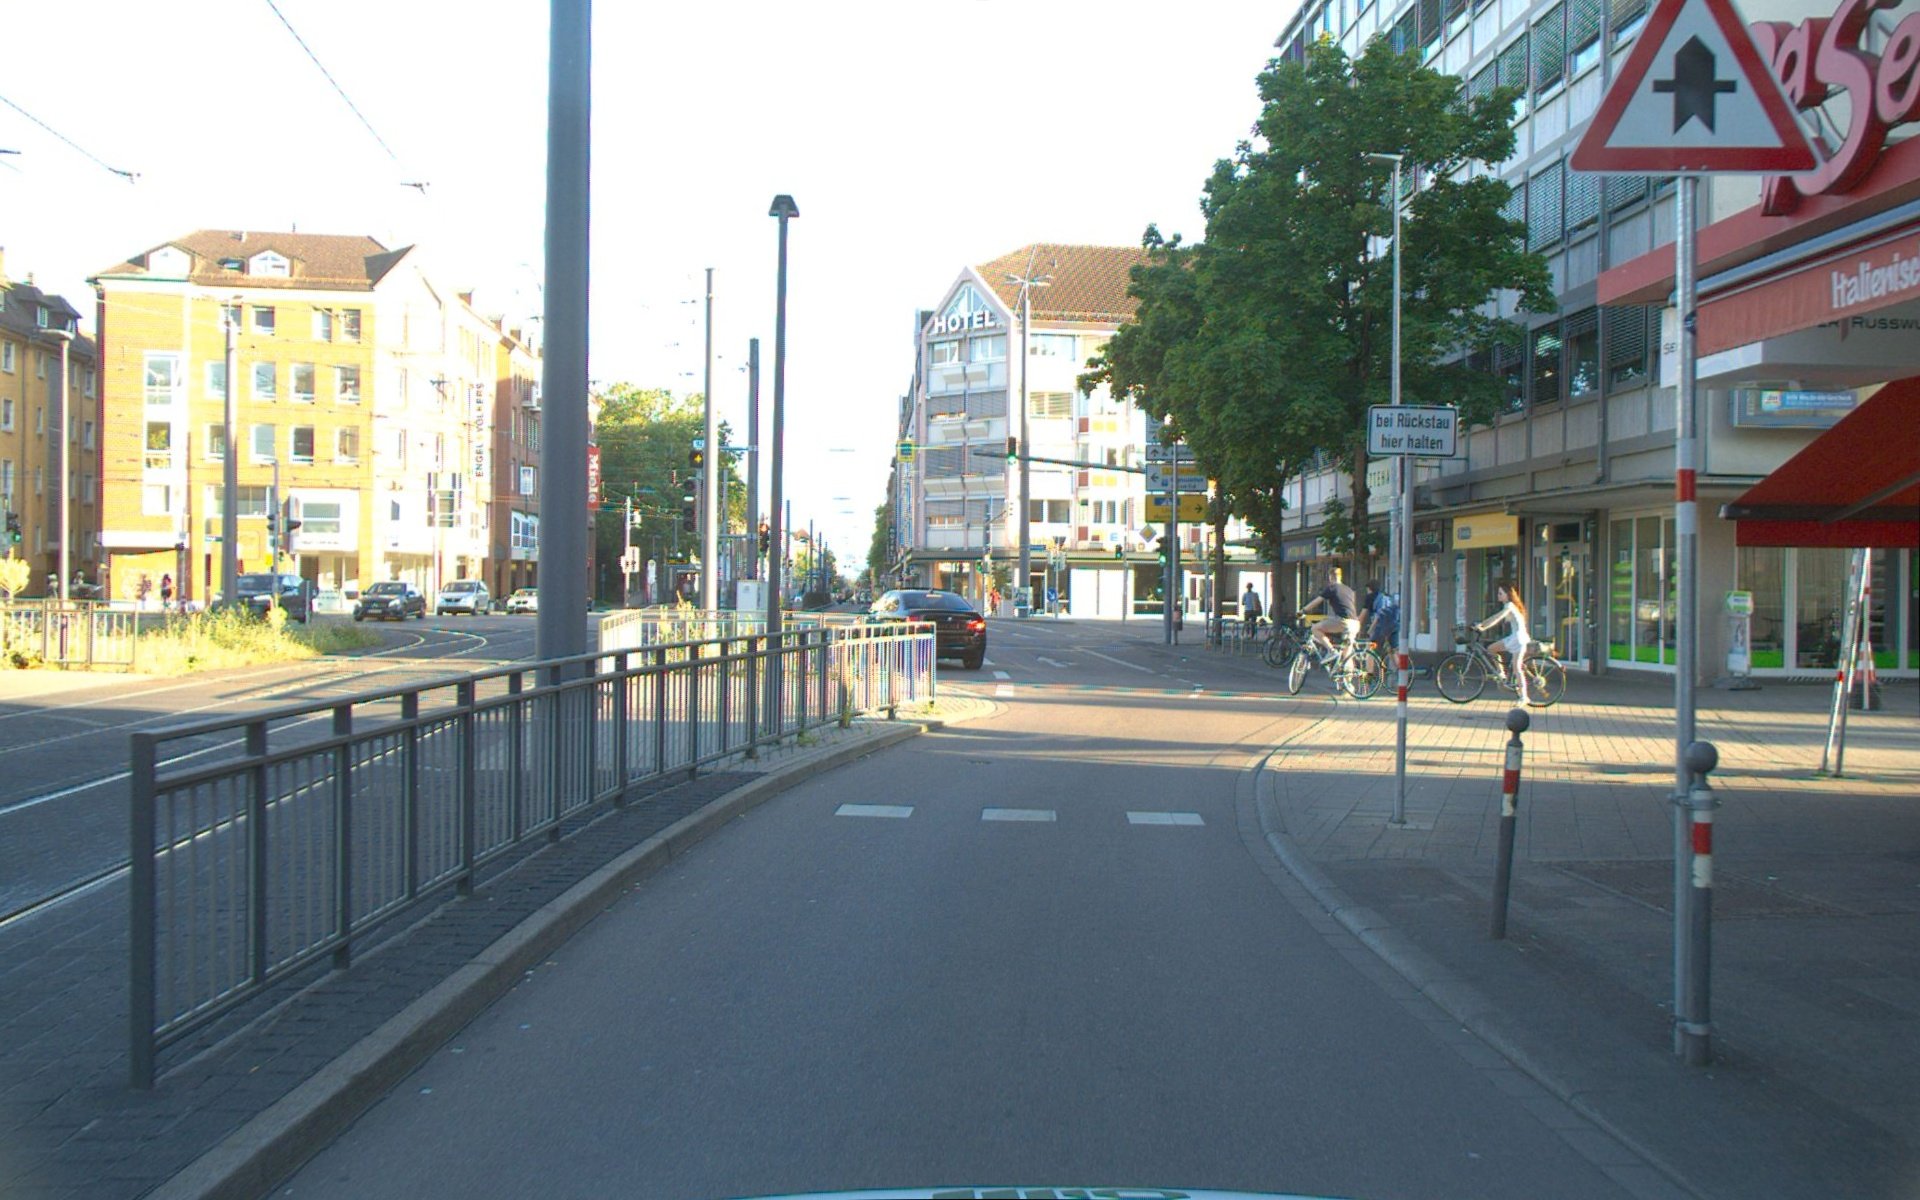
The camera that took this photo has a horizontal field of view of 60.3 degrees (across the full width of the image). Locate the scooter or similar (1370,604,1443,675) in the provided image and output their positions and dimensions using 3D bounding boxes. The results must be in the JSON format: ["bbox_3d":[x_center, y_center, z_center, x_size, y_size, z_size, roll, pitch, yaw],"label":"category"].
[{"bbox_3d":[8.215,0.712,30.464,1.254,1.256,0.337,1,0,39],"label":"scooter or similar"}]

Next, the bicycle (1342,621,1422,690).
[{"bbox_3d":[6.515,0.845,25.601,0.456,0.987,1.795,0,1,-11],"label":"bicycle"}]

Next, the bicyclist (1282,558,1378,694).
[{"bbox_3d":[5.447,0.364,24.372,0.833,1.951,1.099,0,0,-40],"label":"bicyclist"}]

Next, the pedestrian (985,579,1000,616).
[{"bbox_3d":[1.650,-0.144,85.353,0.671,1.886,0.670,1,0,-7],"label":"pedestrian"}]

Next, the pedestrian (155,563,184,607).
[{"bbox_3d":[-34.942,-0.657,73.119,0.924,1.900,0.836,2,0,-13],"label":"pedestrian"}]

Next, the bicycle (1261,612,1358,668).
[{"bbox_3d":[7.354,0.840,34.852,1.954,1.130,0.669,1,0,9],"label":"bicycle"}]

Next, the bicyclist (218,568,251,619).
[{"bbox_3d":[-24.823,-0.230,56.577,0.648,1.718,0.980,0,0,3],"label":"bicyclist"}]

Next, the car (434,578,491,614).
[{"bbox_3d":[-22.784,-0.210,75.876,1.957,1.612,4.104,0,0,-10],"label":"car"}]

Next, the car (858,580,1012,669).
[{"bbox_3d":[-0.557,0.414,32.202,1.962,1.612,3.980,0,1,-18],"label":"car"}]

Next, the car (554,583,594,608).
[{"bbox_3d":[-25.611,-0.317,109.857,1.955,1.612,4.473,0,0,-6],"label":"car"}]

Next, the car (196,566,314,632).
[{"bbox_3d":[-21.463,-0.052,50.552,1.955,1.934,4.806,0,0,-6],"label":"car"}]

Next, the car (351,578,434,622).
[{"bbox_3d":[-21.283,-0.022,62.185,1.955,1.612,4.581,0,0,-6],"label":"car"}]

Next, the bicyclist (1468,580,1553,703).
[{"bbox_3d":[7.658,0.558,22.986,1.088,1.651,0.840,1,0,20],"label":"bicyclist"}]

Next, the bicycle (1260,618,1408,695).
[{"bbox_3d":[5.475,0.805,24.345,0.833,1.038,2.047,0,1,-40],"label":"bicycle"}]

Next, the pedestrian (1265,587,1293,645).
[{"bbox_3d":[9.379,0.475,48.641,0.708,1.696,0.671,1,0,0],"label":"pedestrian"}]

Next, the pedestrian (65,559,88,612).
[{"bbox_3d":[-32.235,-0.545,60.342,0.493,1.900,0.562,2,0,-9],"label":"pedestrian"}]

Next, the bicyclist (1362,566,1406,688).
[{"bbox_3d":[6.540,0.414,25.533,0.456,1.862,0.557,0,0,-12],"label":"bicyclist"}]

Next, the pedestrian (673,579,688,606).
[{"bbox_3d":[-21.611,-0.573,127.795,0.968,2.049,0.725,2,0,-5],"label":"pedestrian"}]

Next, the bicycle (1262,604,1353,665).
[{"bbox_3d":[7.508,0.737,35.821,1.863,1.257,0.669,1,0,7],"label":"bicycle"}]

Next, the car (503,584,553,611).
[{"bbox_3d":[-24.637,-0.145,94.416,1.634,1.473,4.203,1,0,2],"label":"car"}]

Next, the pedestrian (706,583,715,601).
[{"bbox_3d":[-23.021,-0.744,152.751,0.709,1.710,0.991,0,0,-1],"label":"pedestrian"}]

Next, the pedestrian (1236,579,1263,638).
[{"bbox_3d":[8.462,0.238,48.366,0.670,1.696,0.671,1,0,0],"label":"pedestrian"}]

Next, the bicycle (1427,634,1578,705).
[{"bbox_3d":[7.549,0.952,23.025,1.965,0.896,0.840,1,0,20],"label":"bicycle"}]

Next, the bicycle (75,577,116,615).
[{"bbox_3d":[-31.725,-0.147,60.737,0.606,1.348,2.012,2,0,-7],"label":"bicycle"}]
